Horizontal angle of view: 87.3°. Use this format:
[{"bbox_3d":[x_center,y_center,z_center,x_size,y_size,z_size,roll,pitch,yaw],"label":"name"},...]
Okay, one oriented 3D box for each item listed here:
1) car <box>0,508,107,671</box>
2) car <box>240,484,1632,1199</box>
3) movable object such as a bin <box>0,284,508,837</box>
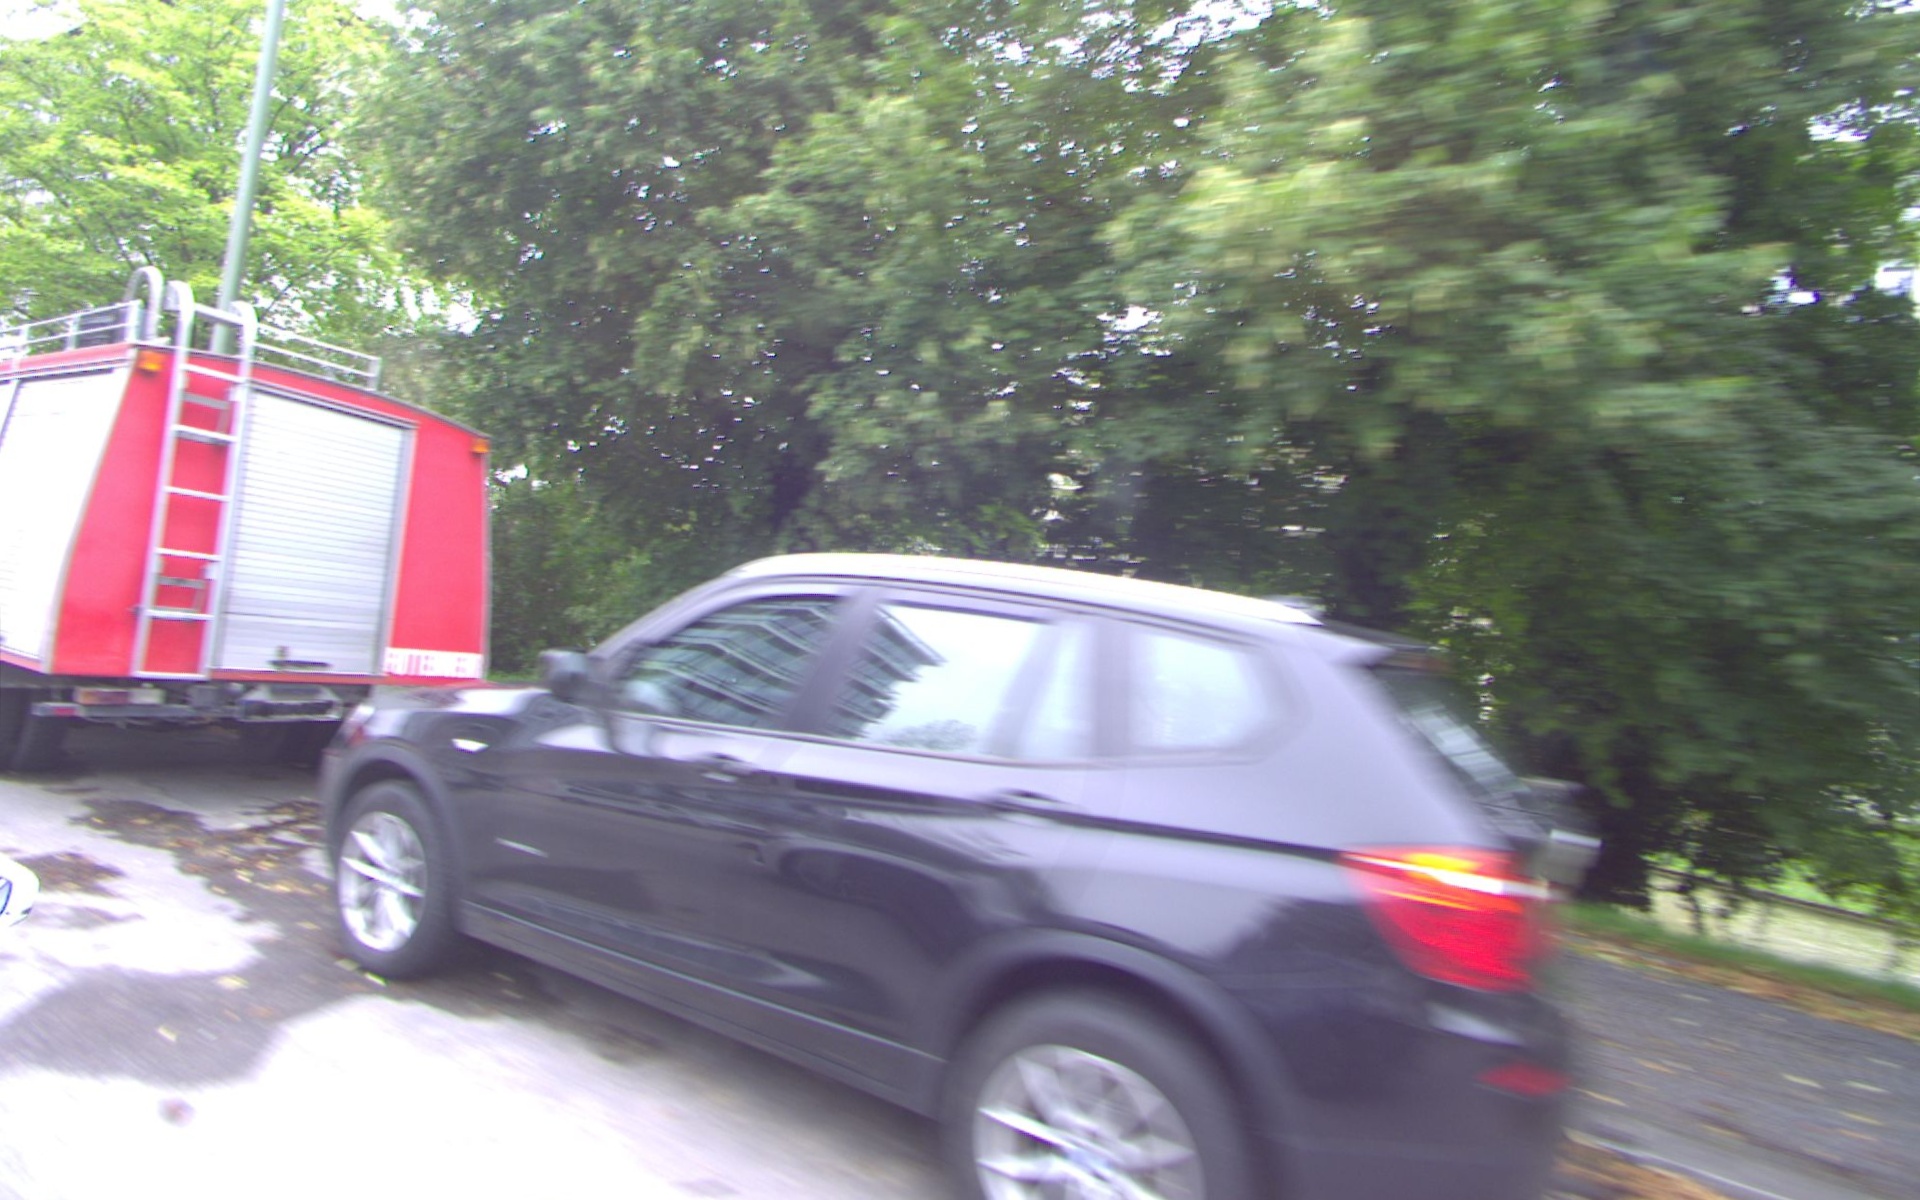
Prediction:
[{"bbox_3d":[-11.283,-0.331,10.664,4.182,1.567,1.782,6,-2,26],"label":"car"},{"bbox_3d":[-0.396,0.666,3.588,4.385,1.668,1.780,6,-2,31],"label":"car"},{"bbox_3d":[-6.077,-0.342,7.029,6.086,2.487,2.108,6,-2,33],"label":"movable object such as a bin"}]
